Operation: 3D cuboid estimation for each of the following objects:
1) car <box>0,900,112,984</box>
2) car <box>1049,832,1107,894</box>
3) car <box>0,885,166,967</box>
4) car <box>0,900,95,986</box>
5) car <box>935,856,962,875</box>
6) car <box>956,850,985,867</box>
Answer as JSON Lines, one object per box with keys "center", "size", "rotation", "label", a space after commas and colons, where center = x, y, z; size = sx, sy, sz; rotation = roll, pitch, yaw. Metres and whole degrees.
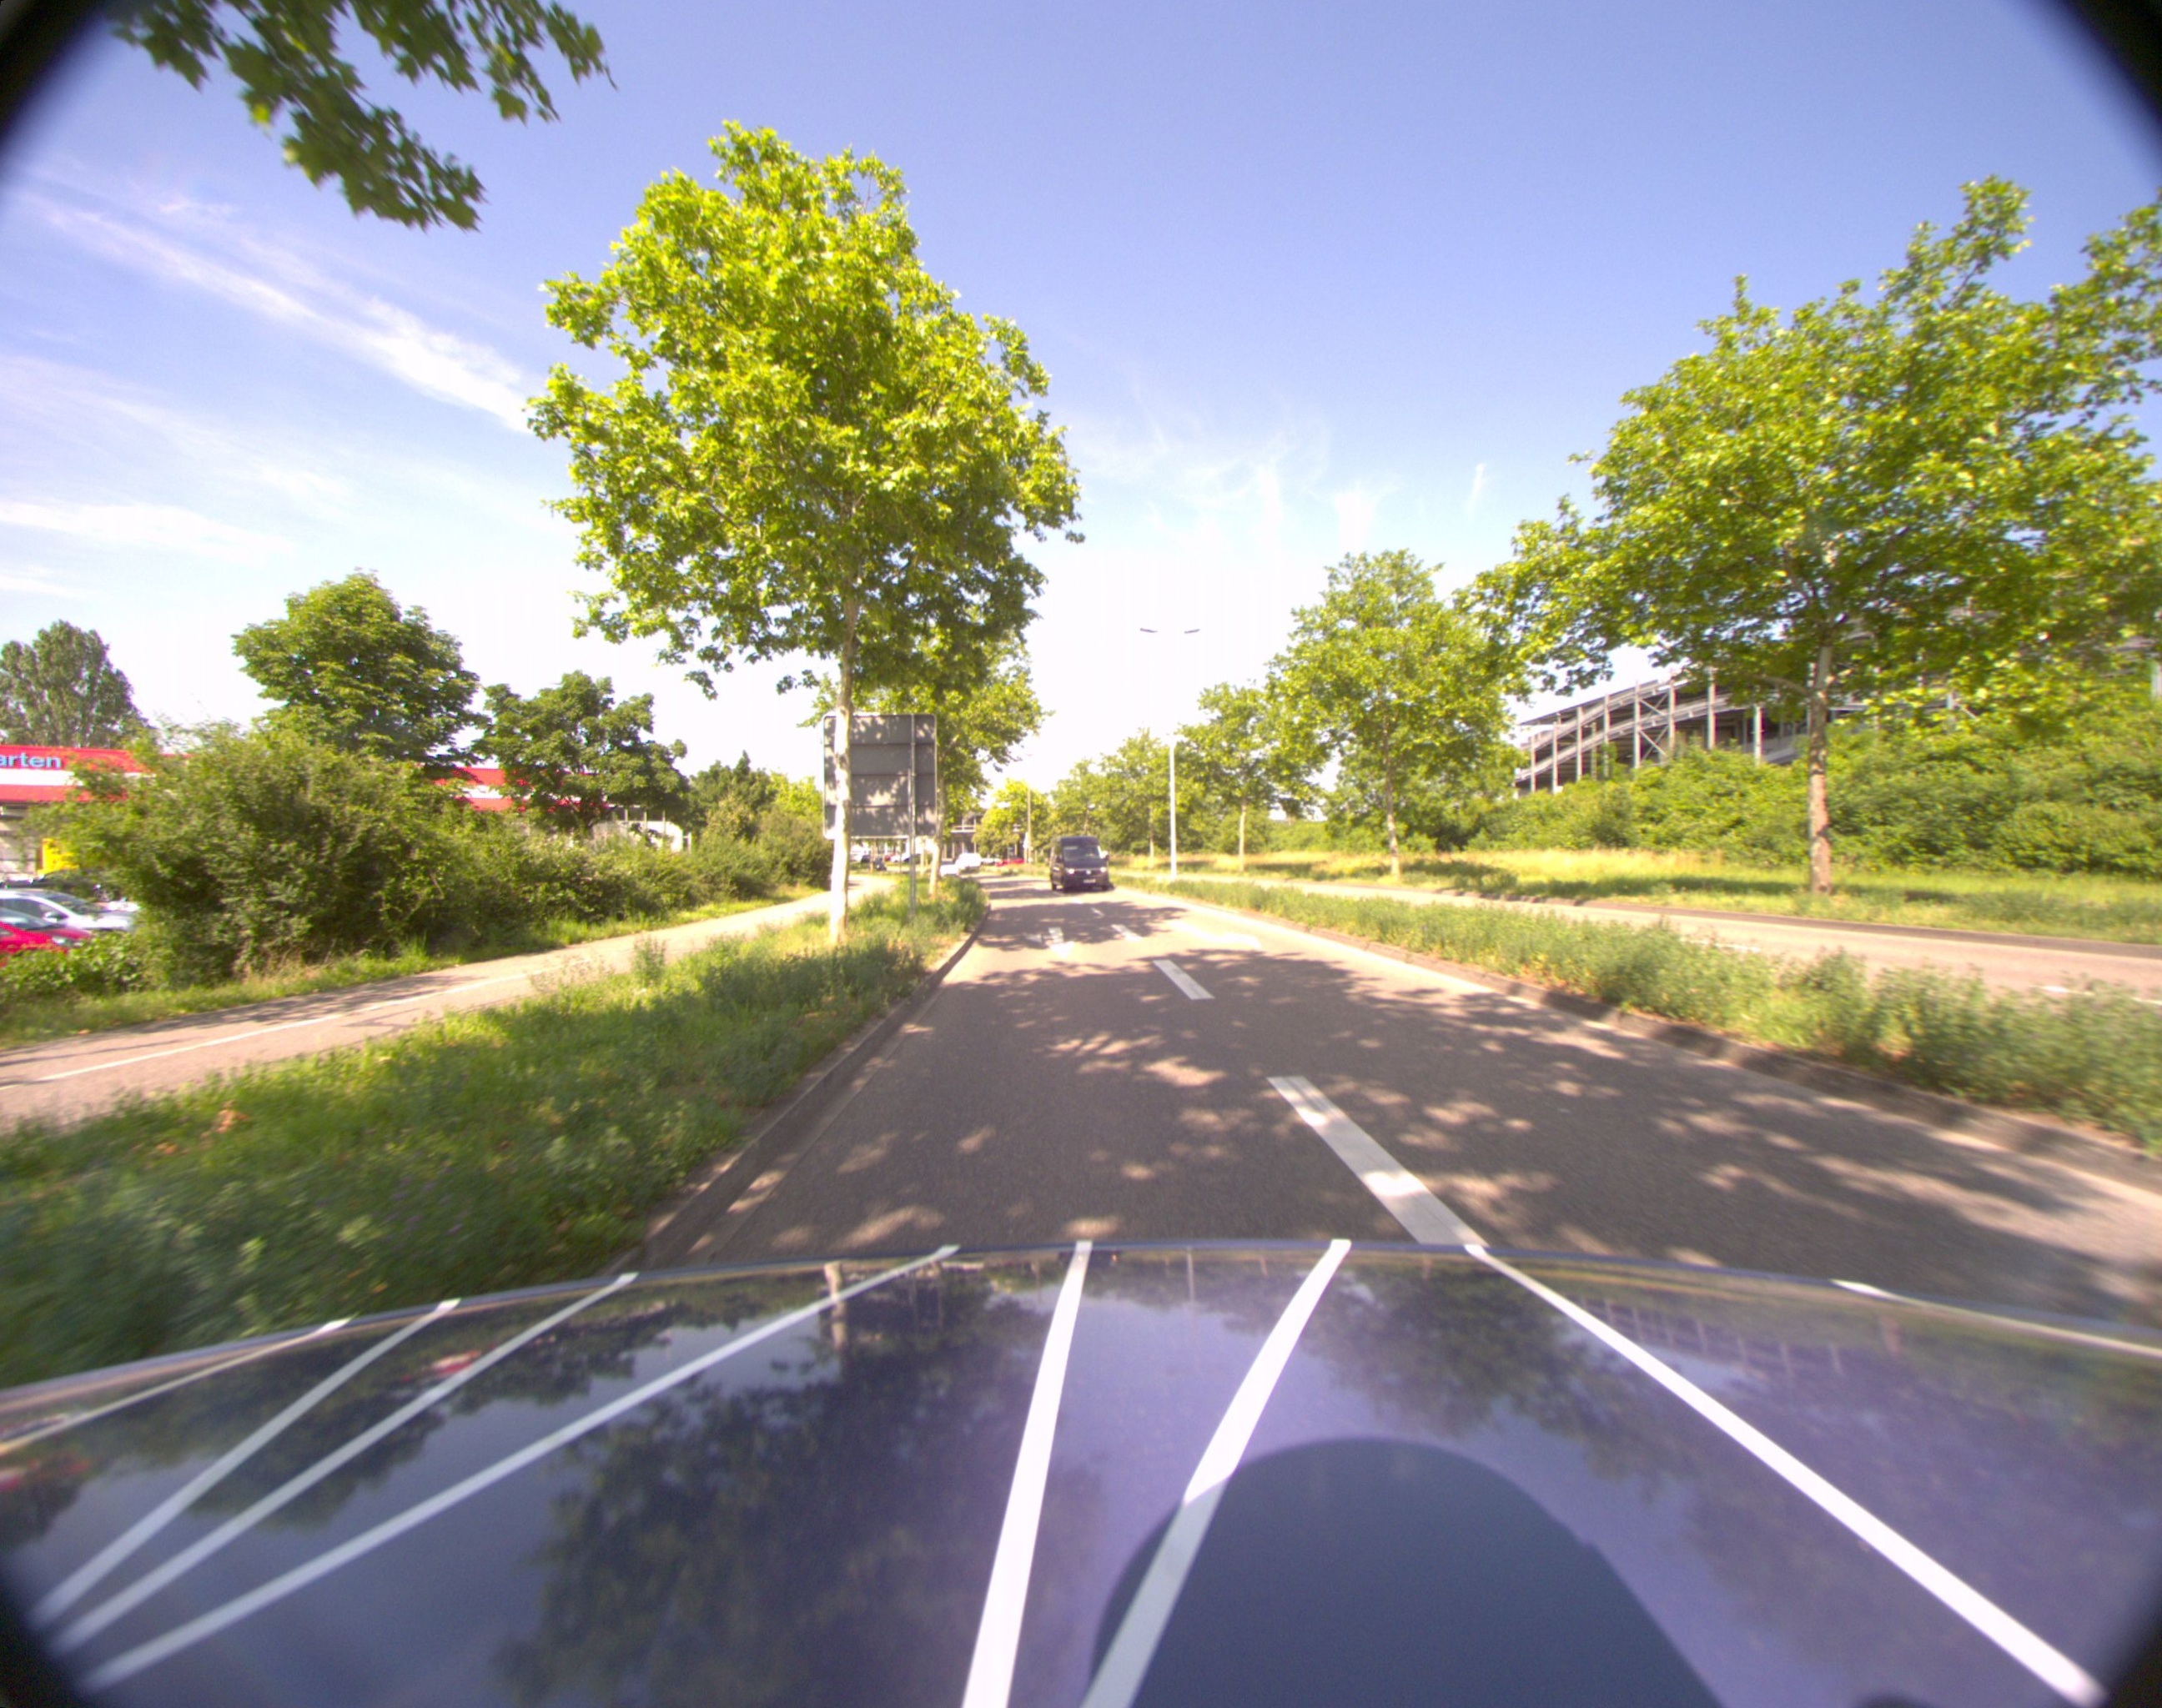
{"center": [-22.874, 1.881, 15.469], "size": [3.494, 1.518, 1.597], "rotation": [-3, 3, -34], "label": "car"}
{"center": [-0.233, 0.380, 35.648], "size": [2.022, 2.592, 6.164], "rotation": [-2, 1, -6], "label": "car"}
{"center": [-24.023, 1.666, 17.600], "size": [3.243, 1.602, 1.534], "rotation": [-3, 3, -34], "label": "car"}
{"center": [-22.941, 1.822, 15.381], "size": [3.284, 1.652, 1.601], "rotation": [0, -1, -33], "label": "car"}
{"center": [-12.047, 1.015, 68.926], "size": [1.826, 1.512, 4.202], "rotation": [-2, 1, -17], "label": "car"}
{"center": [-14.242, 0.563, 97.559], "size": [2.003, 2.002, 4.505], "rotation": [-2, 1, -31], "label": "car"}
